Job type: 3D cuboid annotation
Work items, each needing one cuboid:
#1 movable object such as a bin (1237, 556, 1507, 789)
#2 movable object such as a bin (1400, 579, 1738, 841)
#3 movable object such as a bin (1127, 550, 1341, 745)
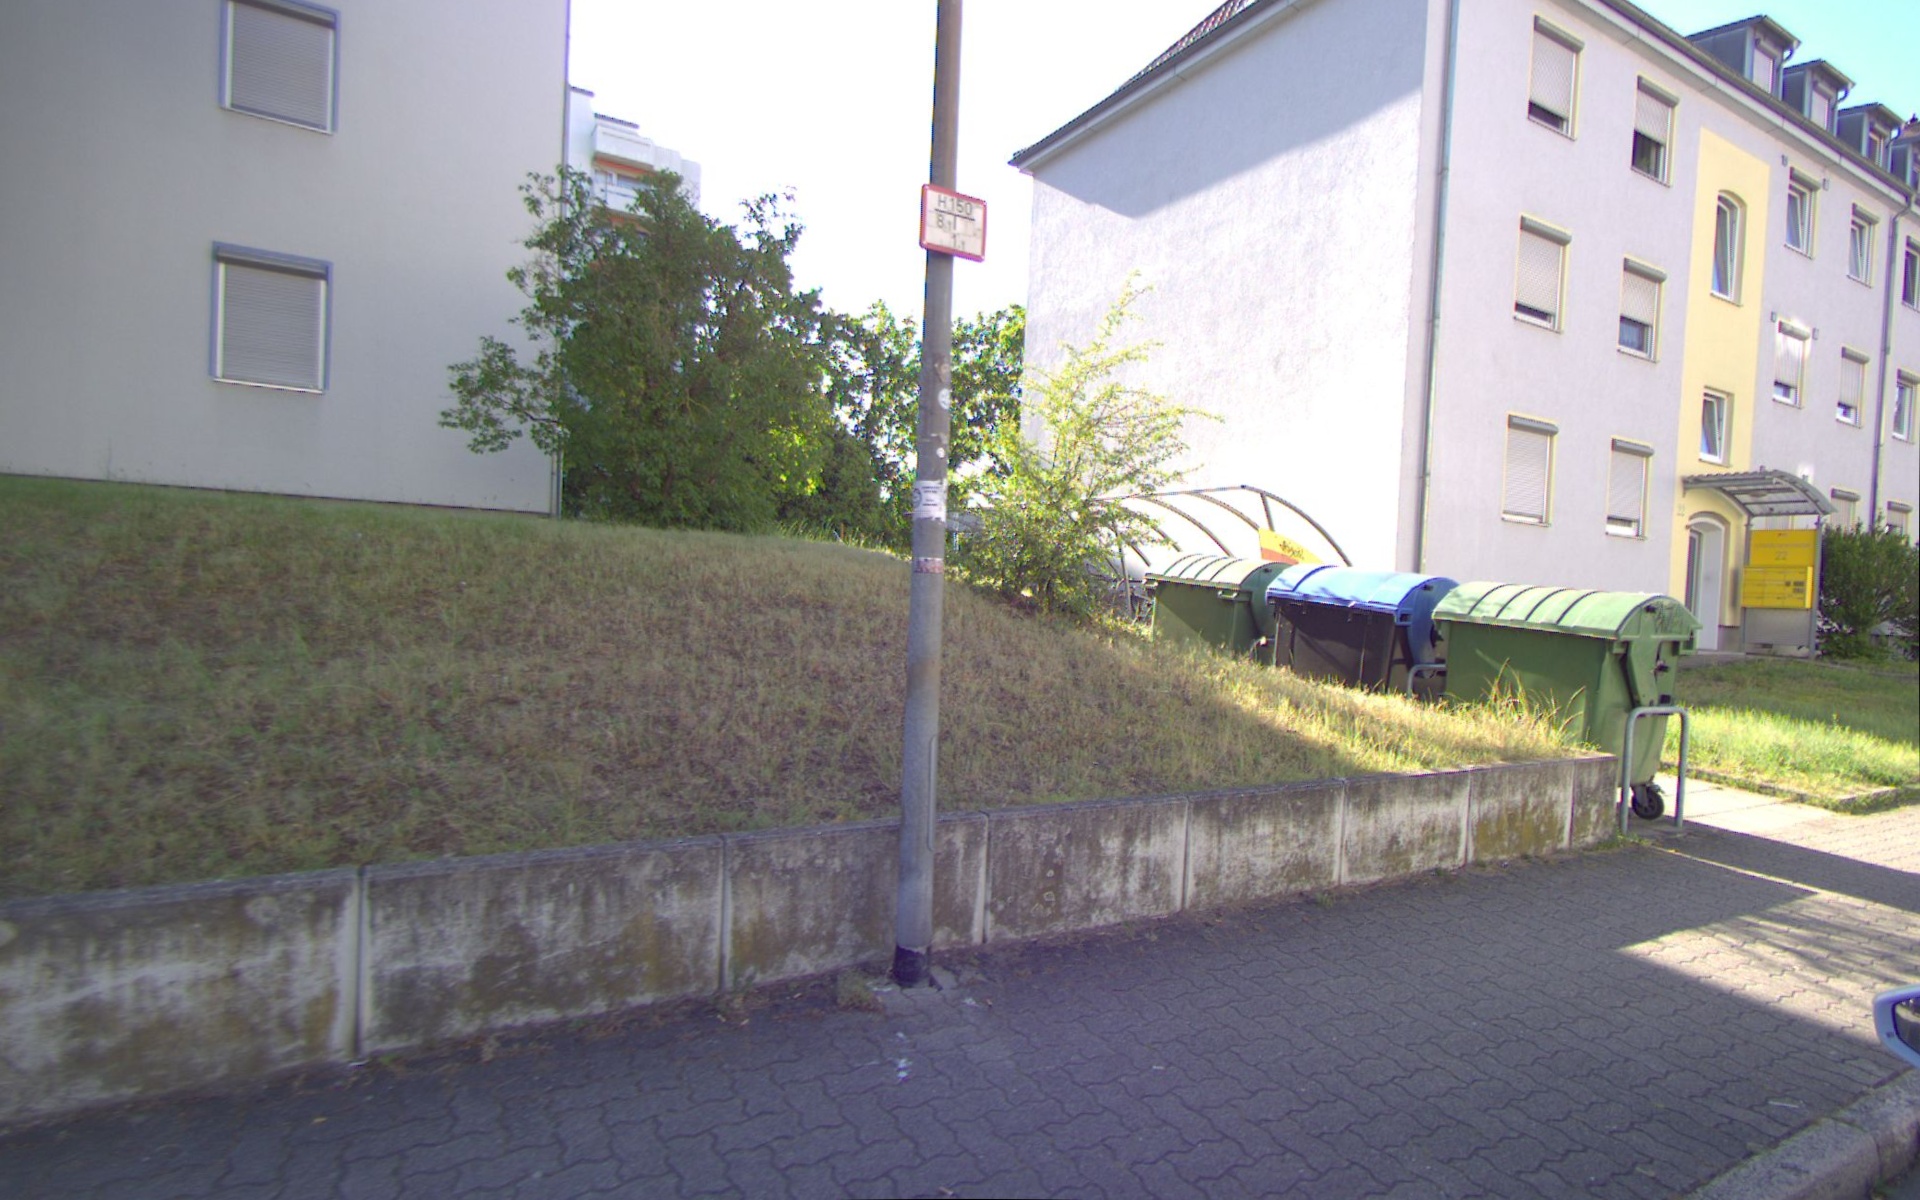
[{"bbox_3d":[3.252,0.506,8.040,1.249,1.644,1.492,2,1,-30],"label":"movable object such as a bin"},{"bbox_3d":[4.058,0.650,6.791,1.250,1.498,1.485,2,1,-30],"label":"movable object such as a bin"},{"bbox_3d":[2.502,0.390,9.304,1.177,1.635,1.452,2,1,-30],"label":"movable object such as a bin"}]
